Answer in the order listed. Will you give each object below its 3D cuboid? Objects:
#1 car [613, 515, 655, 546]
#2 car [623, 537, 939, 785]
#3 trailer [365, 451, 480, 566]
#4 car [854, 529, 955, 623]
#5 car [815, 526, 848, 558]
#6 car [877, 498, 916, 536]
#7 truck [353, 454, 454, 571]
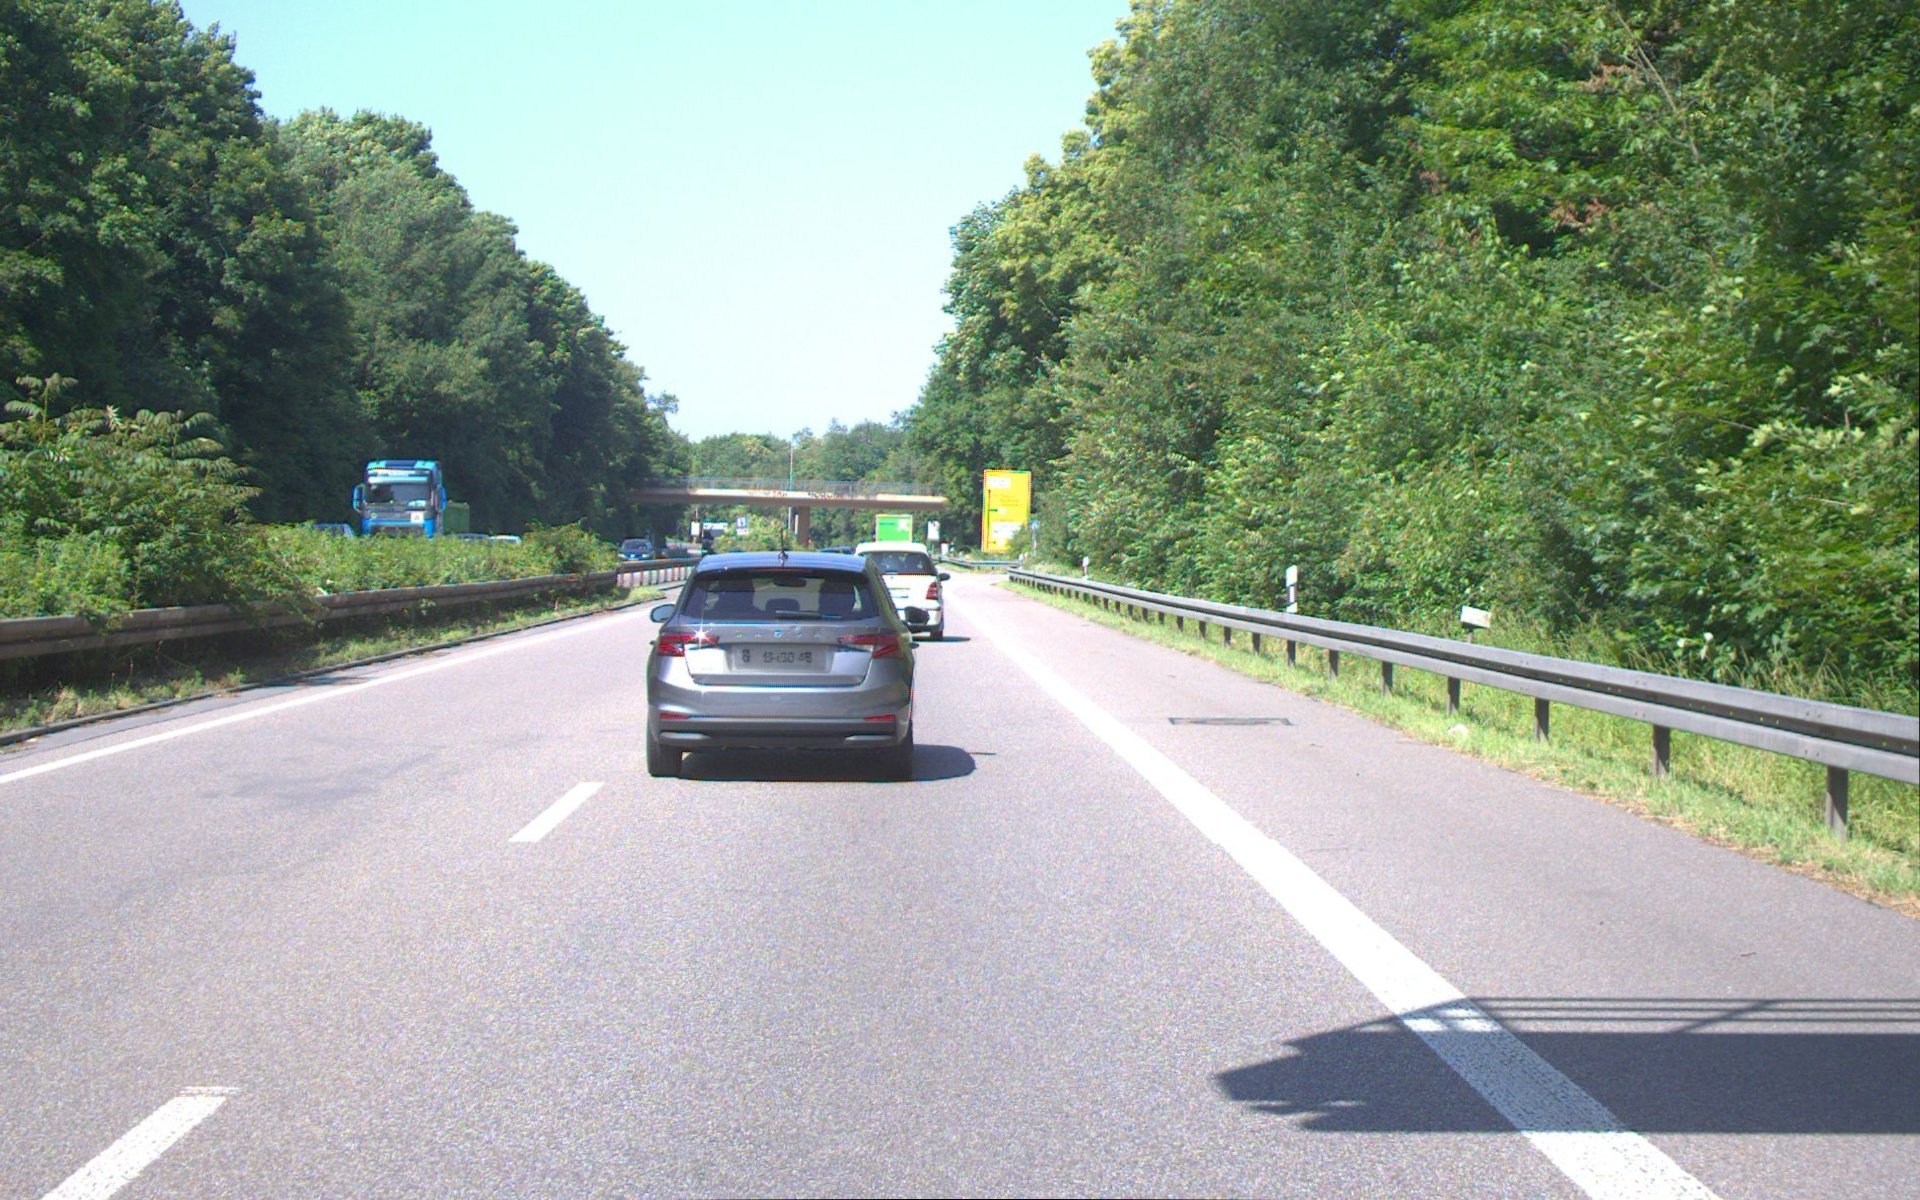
[{"bbox_3d":[-16.033,-3.406,169.305,1.672,1.468,3.623,1,1,1],"label":"car"},{"bbox_3d":[-1.103,0.340,22.745,1.840,1.467,3.623,1,1,1],"label":"car"},{"bbox_3d":[-18.138,-3.051,116.483,2.688,3.699,7.984,1,1,-1],"label":"trailer"},{"bbox_3d":[-0.879,-0.410,55.732,1.522,1.442,3.340,1,1,1],"label":"car"},{"bbox_3d":[-8.271,-3.720,221.928,1.993,2.007,4.000,1,1,-1],"label":"car"},{"bbox_3d":[-4.493,-5.867,243.713,2.748,2.645,4.000,1,1,-1],"label":"car"},{"bbox_3d":[-18.052,-2.821,111.685,2.646,3.693,4.000,1,1,-1],"label":"truck"}]
